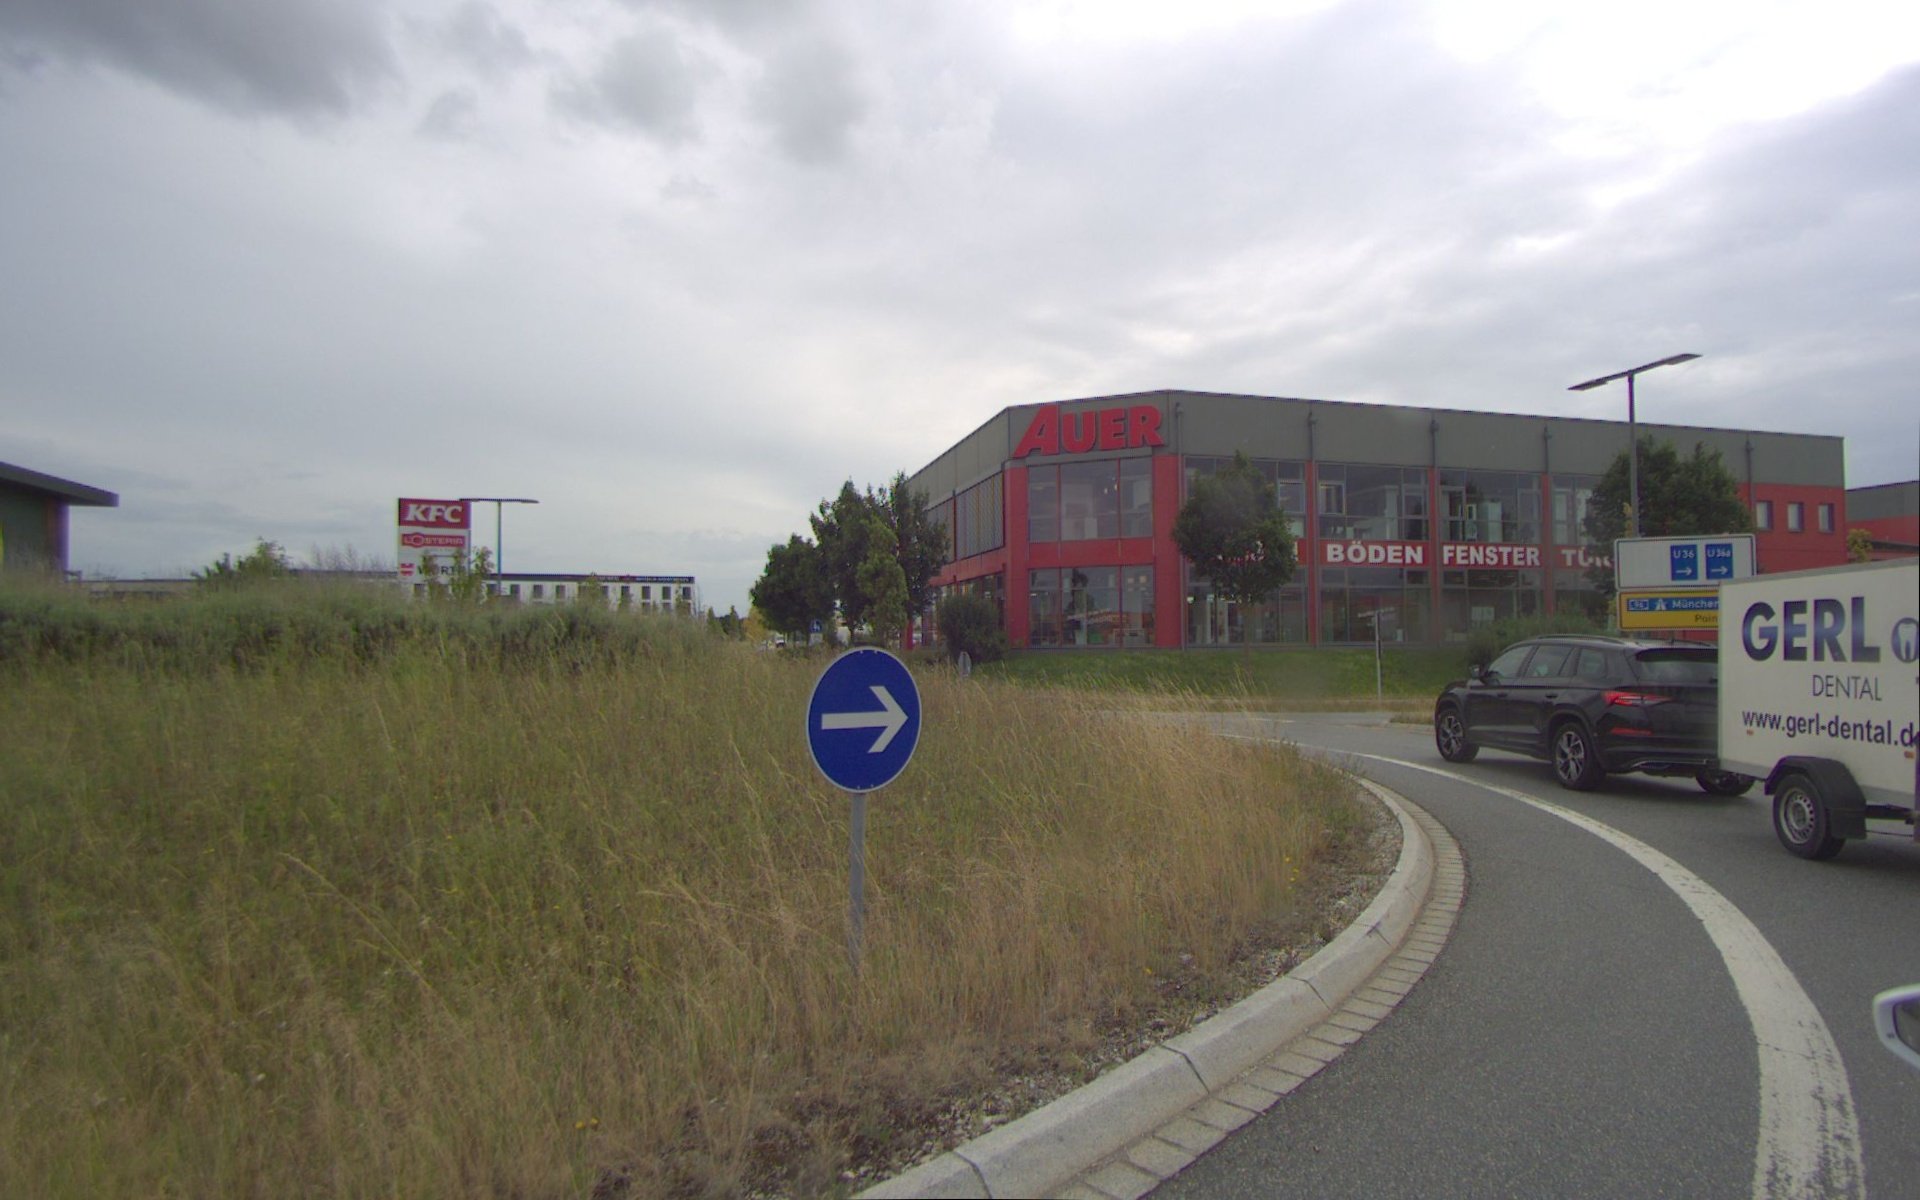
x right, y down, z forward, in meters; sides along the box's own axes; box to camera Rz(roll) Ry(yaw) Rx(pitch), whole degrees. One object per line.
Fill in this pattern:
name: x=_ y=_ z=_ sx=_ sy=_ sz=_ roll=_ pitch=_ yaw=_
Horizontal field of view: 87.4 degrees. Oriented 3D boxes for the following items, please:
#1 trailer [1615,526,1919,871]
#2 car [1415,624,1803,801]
trailer: x=7.051 y=0.680 z=7.756 sx=1.775 sy=2.118 sz=4.149 roll=0 pitch=-2 yaw=9
car: x=7.330 y=1.183 z=12.046 sx=1.780 sy=1.692 sz=4.618 roll=0 pitch=-2 yaw=2
